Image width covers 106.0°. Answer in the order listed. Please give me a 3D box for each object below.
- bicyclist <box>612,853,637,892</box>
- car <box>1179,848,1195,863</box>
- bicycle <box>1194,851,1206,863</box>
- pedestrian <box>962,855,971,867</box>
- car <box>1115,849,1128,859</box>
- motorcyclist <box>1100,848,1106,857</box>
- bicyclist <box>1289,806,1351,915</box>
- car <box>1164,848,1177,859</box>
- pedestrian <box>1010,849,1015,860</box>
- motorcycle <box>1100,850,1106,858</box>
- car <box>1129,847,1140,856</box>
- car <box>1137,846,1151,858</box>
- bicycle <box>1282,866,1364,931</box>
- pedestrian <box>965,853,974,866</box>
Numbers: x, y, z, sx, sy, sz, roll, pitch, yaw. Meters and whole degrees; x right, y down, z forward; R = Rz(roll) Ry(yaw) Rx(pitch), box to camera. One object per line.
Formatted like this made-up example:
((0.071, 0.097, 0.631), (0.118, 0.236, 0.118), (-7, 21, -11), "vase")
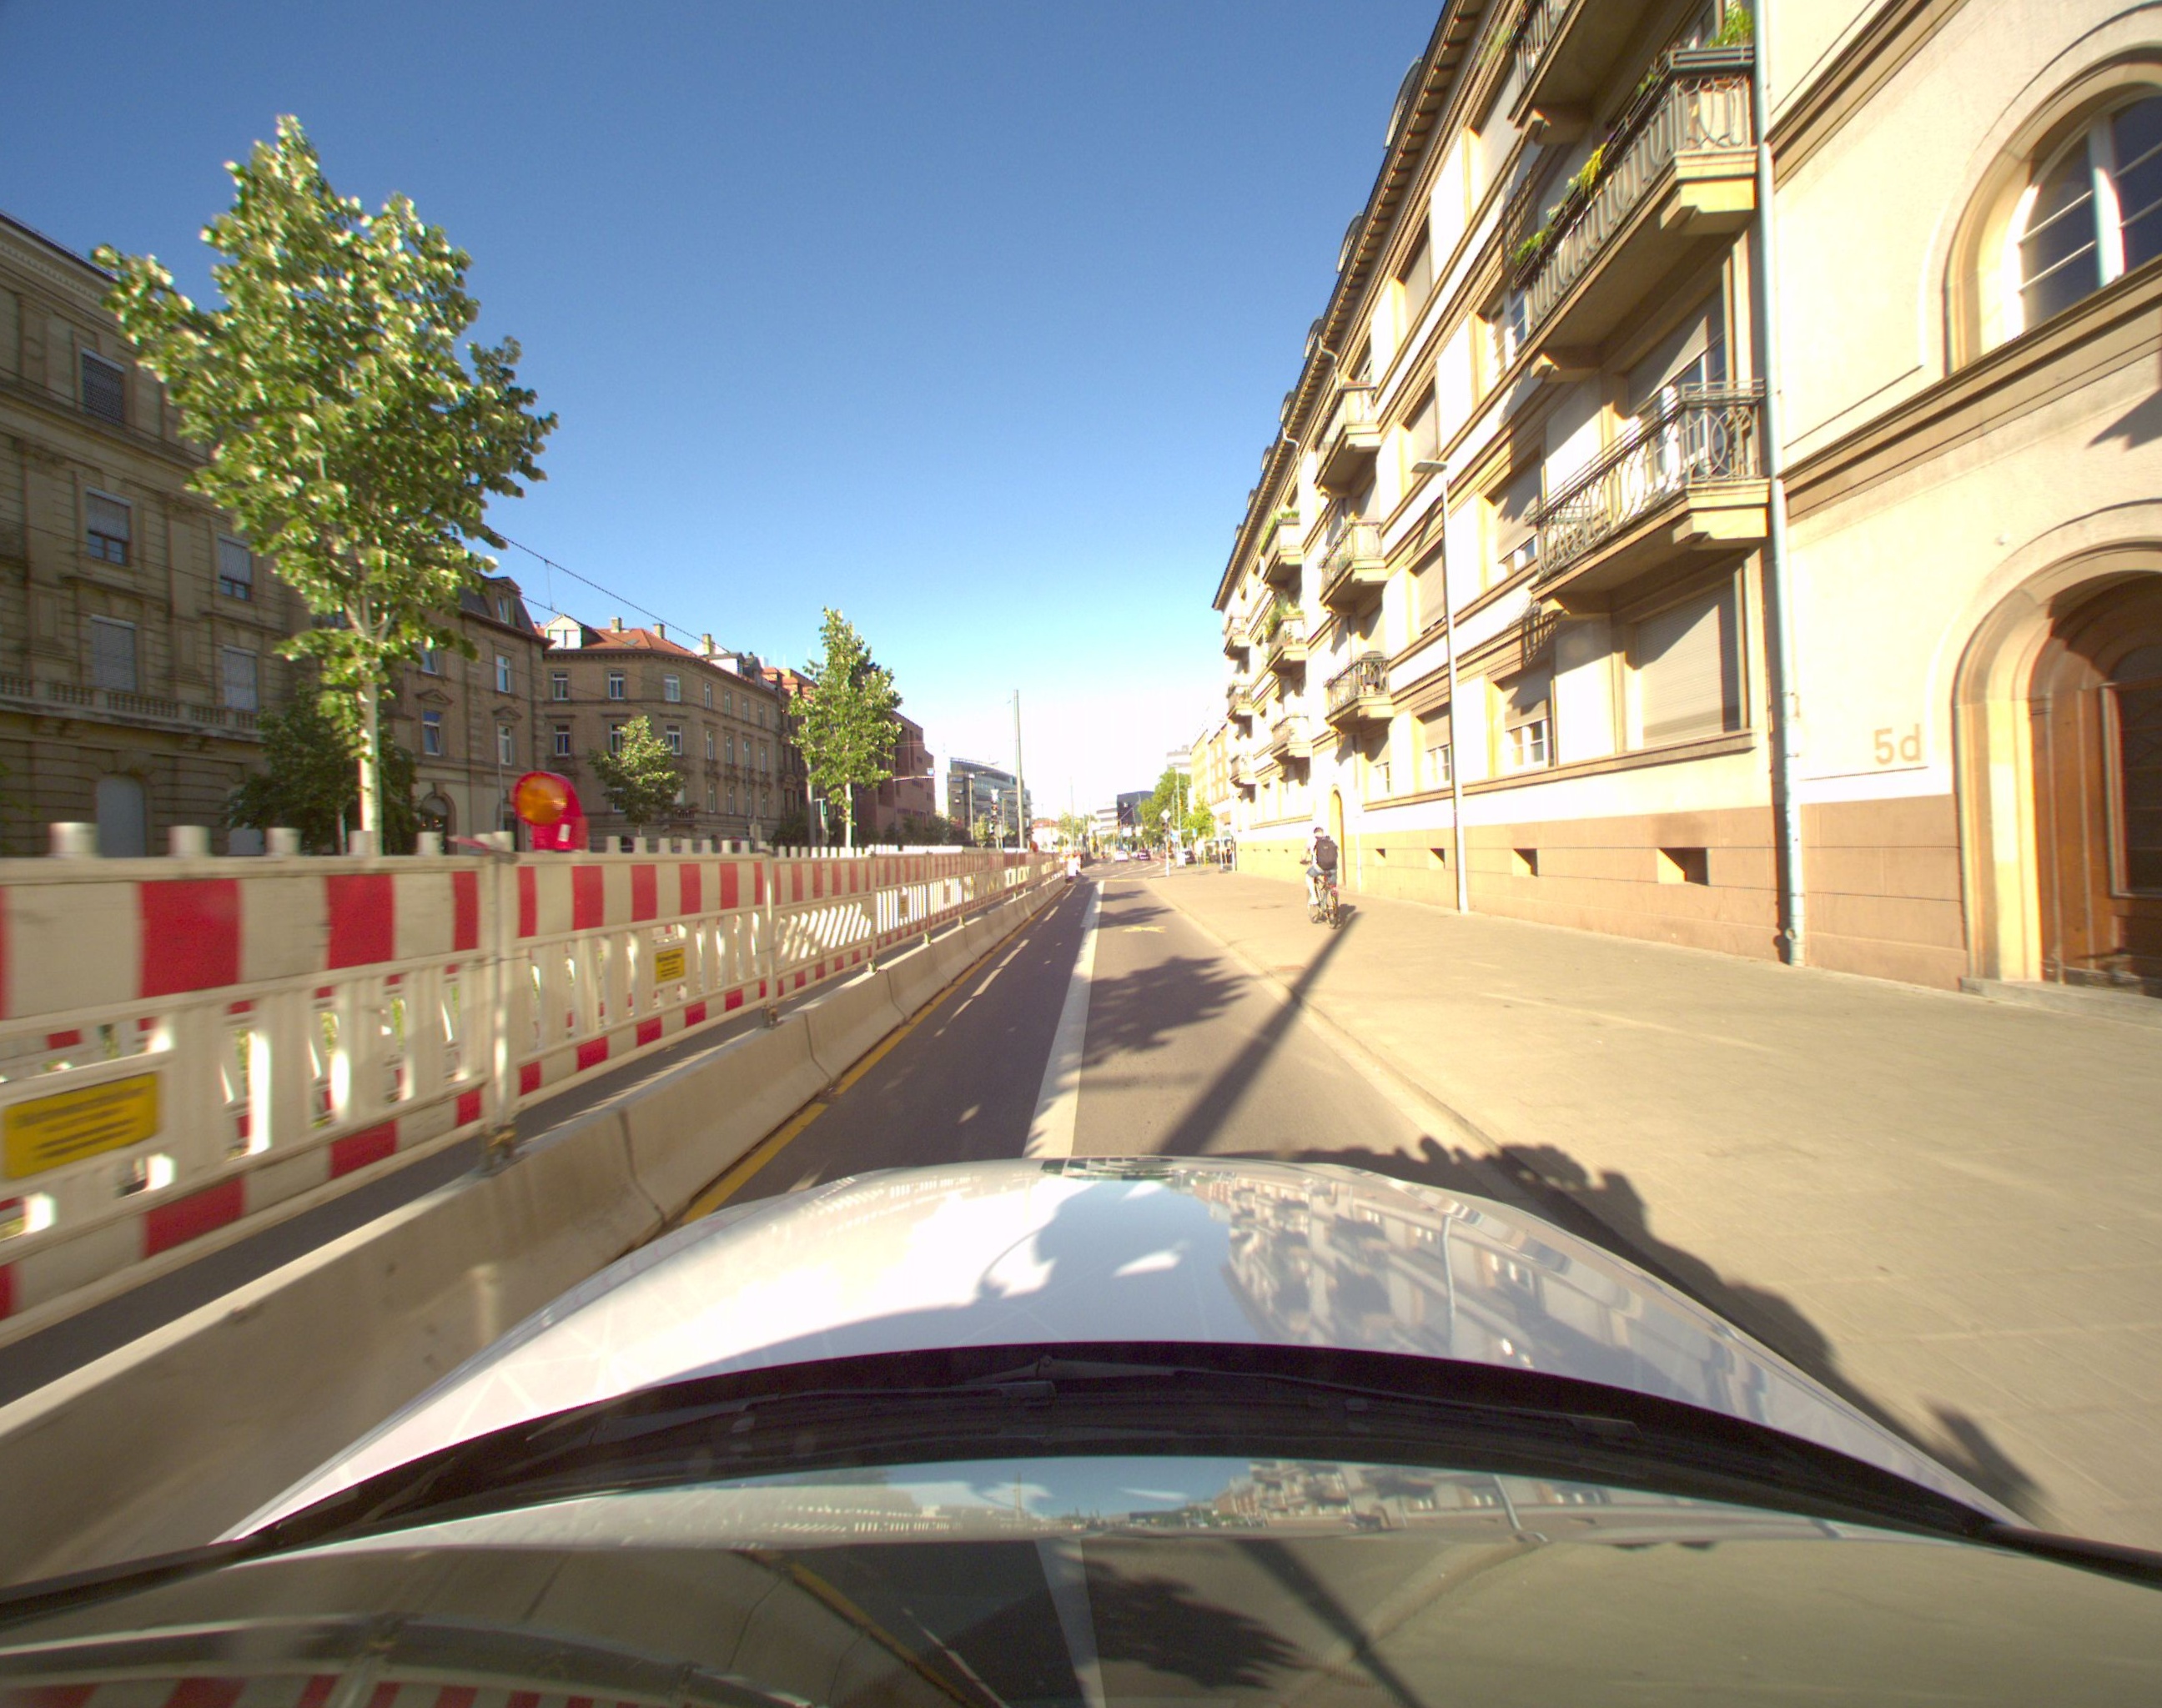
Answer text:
((-21.395, 0.847, 38.169), (0.886, 1.773, 0.849), (-2, 0, -24), "bicyclist")
((12.081, 0.142, 92.641), (1.711, 1.636, 4.241), (-3, 0, 9), "car")
((12.112, 0.349, 82.697), (0.763, 1.081, 1.997), (-7, -1, -1), "bicycle")
((-11.653, 0.691, 82.983), (0.718, 1.168, 0.722), (-4, 0, 2), "pedestrian")
((5.771, -0.047, 116.211), (1.773, 1.414, 4.821), (0, 0, 2), "car")
((3.901, -0.210, 142.135), (1.015, 1.603, 1.149), (0, 0, 2), "motorcyclist")
((4.080, 0.108, 13.939), (0.730, 1.763, 0.938), (-3, 0, 1), "bicyclist")
((14.661, -0.072, 133.914), (1.839, 1.560, 4.636), (0, 2, 3), "car")
((-10.125, 0.098, 120.082), (0.638, 1.695, 0.541), (0, 0, 2), "pedestrian")
((3.906, 0.009, 142.069), (1.015, 1.312, 2.917), (0, 0, 3), "motorcycle")
((9.574, -0.436, 146.531), (1.843, 1.497, 4.381), (-2, 0, 2), "car")
((9.348, -0.333, 121.770), (1.967, 1.759, 4.636), (0, 0, 3), "car")
((4.106, 0.720, 13.996), (0.764, 0.953, 2.199), (-3, 0, 2), "bicycle")
((-11.646, 0.603, 85.024), (0.643, 1.309, 0.722), (-4, 0, 2), "pedestrian")
